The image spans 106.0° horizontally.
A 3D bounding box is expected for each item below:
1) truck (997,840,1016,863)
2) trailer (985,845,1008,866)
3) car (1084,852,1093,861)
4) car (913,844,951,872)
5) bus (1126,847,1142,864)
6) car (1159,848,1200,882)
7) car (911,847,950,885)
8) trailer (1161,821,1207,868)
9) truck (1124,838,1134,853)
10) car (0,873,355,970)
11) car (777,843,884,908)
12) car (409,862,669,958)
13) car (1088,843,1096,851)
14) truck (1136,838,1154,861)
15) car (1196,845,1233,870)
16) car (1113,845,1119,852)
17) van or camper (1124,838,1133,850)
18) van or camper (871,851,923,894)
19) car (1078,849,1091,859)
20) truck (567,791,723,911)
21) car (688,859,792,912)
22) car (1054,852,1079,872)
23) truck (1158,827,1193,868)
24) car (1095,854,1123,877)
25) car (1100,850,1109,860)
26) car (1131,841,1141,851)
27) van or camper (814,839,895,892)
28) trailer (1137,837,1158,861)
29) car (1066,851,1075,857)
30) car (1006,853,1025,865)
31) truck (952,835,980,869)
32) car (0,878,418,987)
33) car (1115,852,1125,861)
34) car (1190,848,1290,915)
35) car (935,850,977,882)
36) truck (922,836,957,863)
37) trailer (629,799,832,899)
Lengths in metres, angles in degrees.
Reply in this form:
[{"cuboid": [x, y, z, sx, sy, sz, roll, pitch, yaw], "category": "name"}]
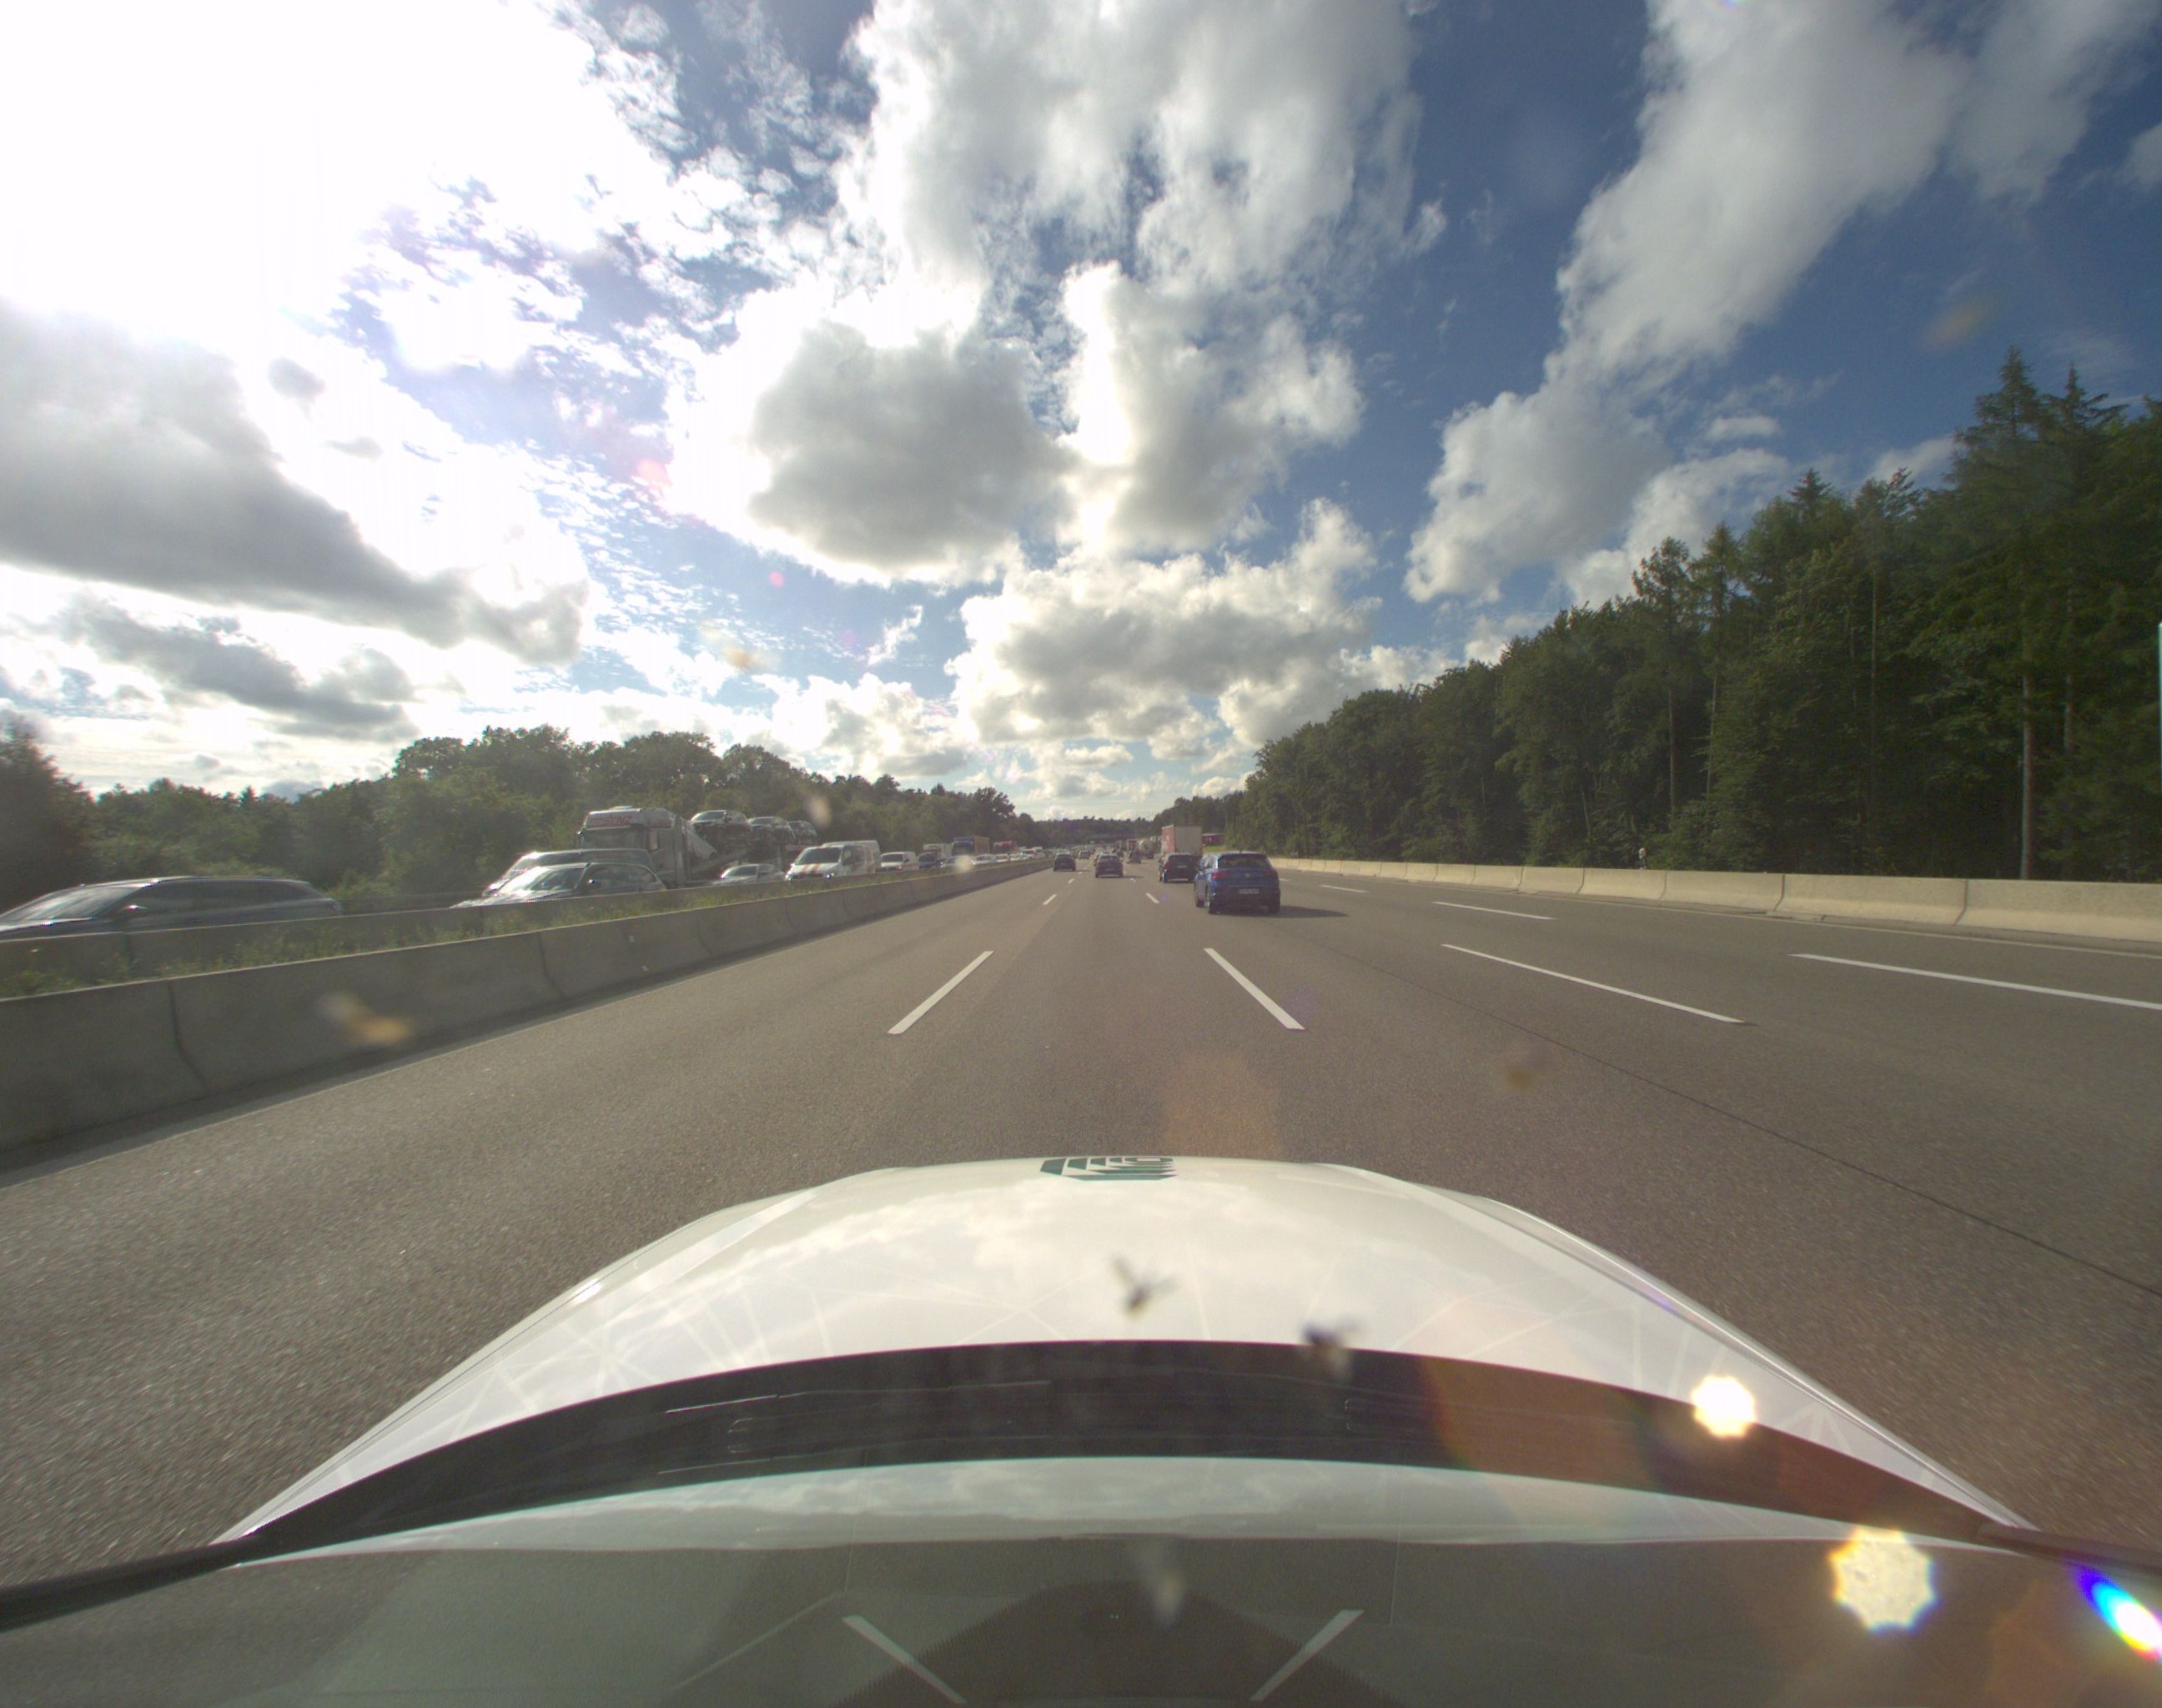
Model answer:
[{"cuboid": [-13.516, -0.471, 148.757, 2.766, 3.938, 6.853, -1, 0, 0], "category": "truck"}, {"cuboid": [-17.082, 0.188, 165.764, 2.798, 4.119, 14.048, 0, 1, 2], "category": "trailer"}, {"cuboid": [1.785, 0.522, 185.807, 1.986, 2.013, 4.001, 0, 0, 1], "category": "car"}, {"cuboid": [-11.459, 0.324, 62.771, 1.987, 2.014, 4.657, -1, -1, 1], "category": "car"}, {"cuboid": [6.819, 0.196, 104.743, 1.986, 2.014, 4.001, -1, -1, 2], "category": "bus"}, {"cuboid": [4.997, 0.539, 41.738, 1.792, 1.644, 4.002, 0, 0, 2], "category": "car"}, {"cuboid": [-12.053, 0.914, 65.371, 1.986, 2.963, 5.404, 0, 0, 1], "category": "car"}, {"cuboid": [9.731, -0.715, 78.641, 3.027, 4.035, 13.893, -1, -1, 1], "category": "trailer"}, {"cuboid": [12.321, -2.125, 209.254, 2.348, 3.572, 11.273, -1, -1, 3], "category": "truck"}, {"cuboid": [-12.999, 0.822, 11.133, 1.634, 1.077, 4.886, -1, -1, 2], "category": "car"}, {"cuboid": [-8.788, 0.746, 29.098, 1.986, 2.100, 5.280, -1, -1, 2], "category": "car"}, {"cuboid": [-9.056, 0.848, 14.071, 1.689, 1.372, 4.002, 0, 0, 2], "category": "car"}, {"cuboid": [2.971, -1.897, 223.344, 1.986, 2.013, 4.001, 0, 0, 1], "category": "car"}, {"cuboid": [12.171, -0.834, 155.314, 3.034, 4.160, 7.129, -1, 0, 2], "category": "truck"}, {"cuboid": [8.476, 0.235, 52.010, 1.709, 1.511, 4.302, -2, 0, 1], "category": "car"}, {"cuboid": [10.749, -1.672, 249.759, 1.986, 2.013, 4.001, 0, 0, 1], "category": "car"}, {"cuboid": [12.666, -2.588, 216.050, 2.342, 3.144, 5.714, -1, -1, 3], "category": "van or camper"}, {"cuboid": [-12.279, 1.235, 54.767, 2.037, 2.711, 5.753, -1, -1, 2], "category": "van or camper"}, {"cuboid": [0.664, -0.009, 152.340, 2.146, 1.776, 4.002, 0, 0, 2], "category": "car"}, {"cuboid": [-16.643, -0.102, 31.581, 2.843, 4.234, 5.714, 0, 0, 1], "category": "truck"}, {"cuboid": [-13.058, 1.142, 31.529, 1.904, 1.876, 4.698, -1, 0, 1], "category": "car"}, {"cuboid": [-1.264, 0.684, 71.751, 1.986, 1.776, 4.002, 0, 0, 2], "category": "car"}, {"cuboid": [9.875, -0.602, 85.392, 3.069, 4.063, 6.071, -1, -1, 1], "category": "truck"}, {"cuboid": [1.743, 0.719, 51.703, 1.728, 1.365, 4.000, 0, 0, 1], "category": "car"}, {"cuboid": [5.422, 0.231, 187.423, 1.986, 2.014, 4.001, -2, -1, 1], "category": "car"}, {"cuboid": [12.359, -1.738, 182.380, 1.986, 2.014, 4.001, -1, -1, 1], "category": "car"}, {"cuboid": [-12.339, 0.652, 44.983, 2.382, 2.711, 6.634, -1, -1, 2], "category": "van or camper"}, {"cuboid": [11.962, -0.824, 147.812, 3.025, 4.016, 12.247, -1, -1, 1], "category": "trailer"}, {"cuboid": [-2.862, 0.043, 223.990, 1.985, 1.572, 4.819, -1, 1, 3], "category": "car"}, {"cuboid": [-7.318, 0.550, 90.813, 1.751, 1.377, 4.000, 0, 0, 1], "category": "car"}, {"cuboid": [-14.542, -0.150, 103.195, 2.726, 4.148, 5.617, -1, -1, 0], "category": "truck"}, {"cuboid": [-12.974, 1.048, 12.453, 1.825, 1.230, 4.568, -1, 0, 2], "category": "car"}, {"cuboid": [8.134, 0.548, 171.738, 1.986, 2.014, 4.001, 0, 0, 1], "category": "car"}, {"cuboid": [4.079, 0.641, 21.578, 1.916, 1.541, 4.648, -1, 0, 3], "category": "car"}, {"cuboid": [-8.394, 0.805, 54.963, 1.986, 2.014, 4.411, -2, -1, 2], "category": "car"}, {"cuboid": [-15.404, -0.495, 89.084, 2.320, 2.801, 7.951, 0, 0, 1], "category": "truck"}, {"cuboid": [-16.474, -0.129, 40.589, 2.820, 3.975, 16.009, 0, 0, 1], "category": "trailer"}]
